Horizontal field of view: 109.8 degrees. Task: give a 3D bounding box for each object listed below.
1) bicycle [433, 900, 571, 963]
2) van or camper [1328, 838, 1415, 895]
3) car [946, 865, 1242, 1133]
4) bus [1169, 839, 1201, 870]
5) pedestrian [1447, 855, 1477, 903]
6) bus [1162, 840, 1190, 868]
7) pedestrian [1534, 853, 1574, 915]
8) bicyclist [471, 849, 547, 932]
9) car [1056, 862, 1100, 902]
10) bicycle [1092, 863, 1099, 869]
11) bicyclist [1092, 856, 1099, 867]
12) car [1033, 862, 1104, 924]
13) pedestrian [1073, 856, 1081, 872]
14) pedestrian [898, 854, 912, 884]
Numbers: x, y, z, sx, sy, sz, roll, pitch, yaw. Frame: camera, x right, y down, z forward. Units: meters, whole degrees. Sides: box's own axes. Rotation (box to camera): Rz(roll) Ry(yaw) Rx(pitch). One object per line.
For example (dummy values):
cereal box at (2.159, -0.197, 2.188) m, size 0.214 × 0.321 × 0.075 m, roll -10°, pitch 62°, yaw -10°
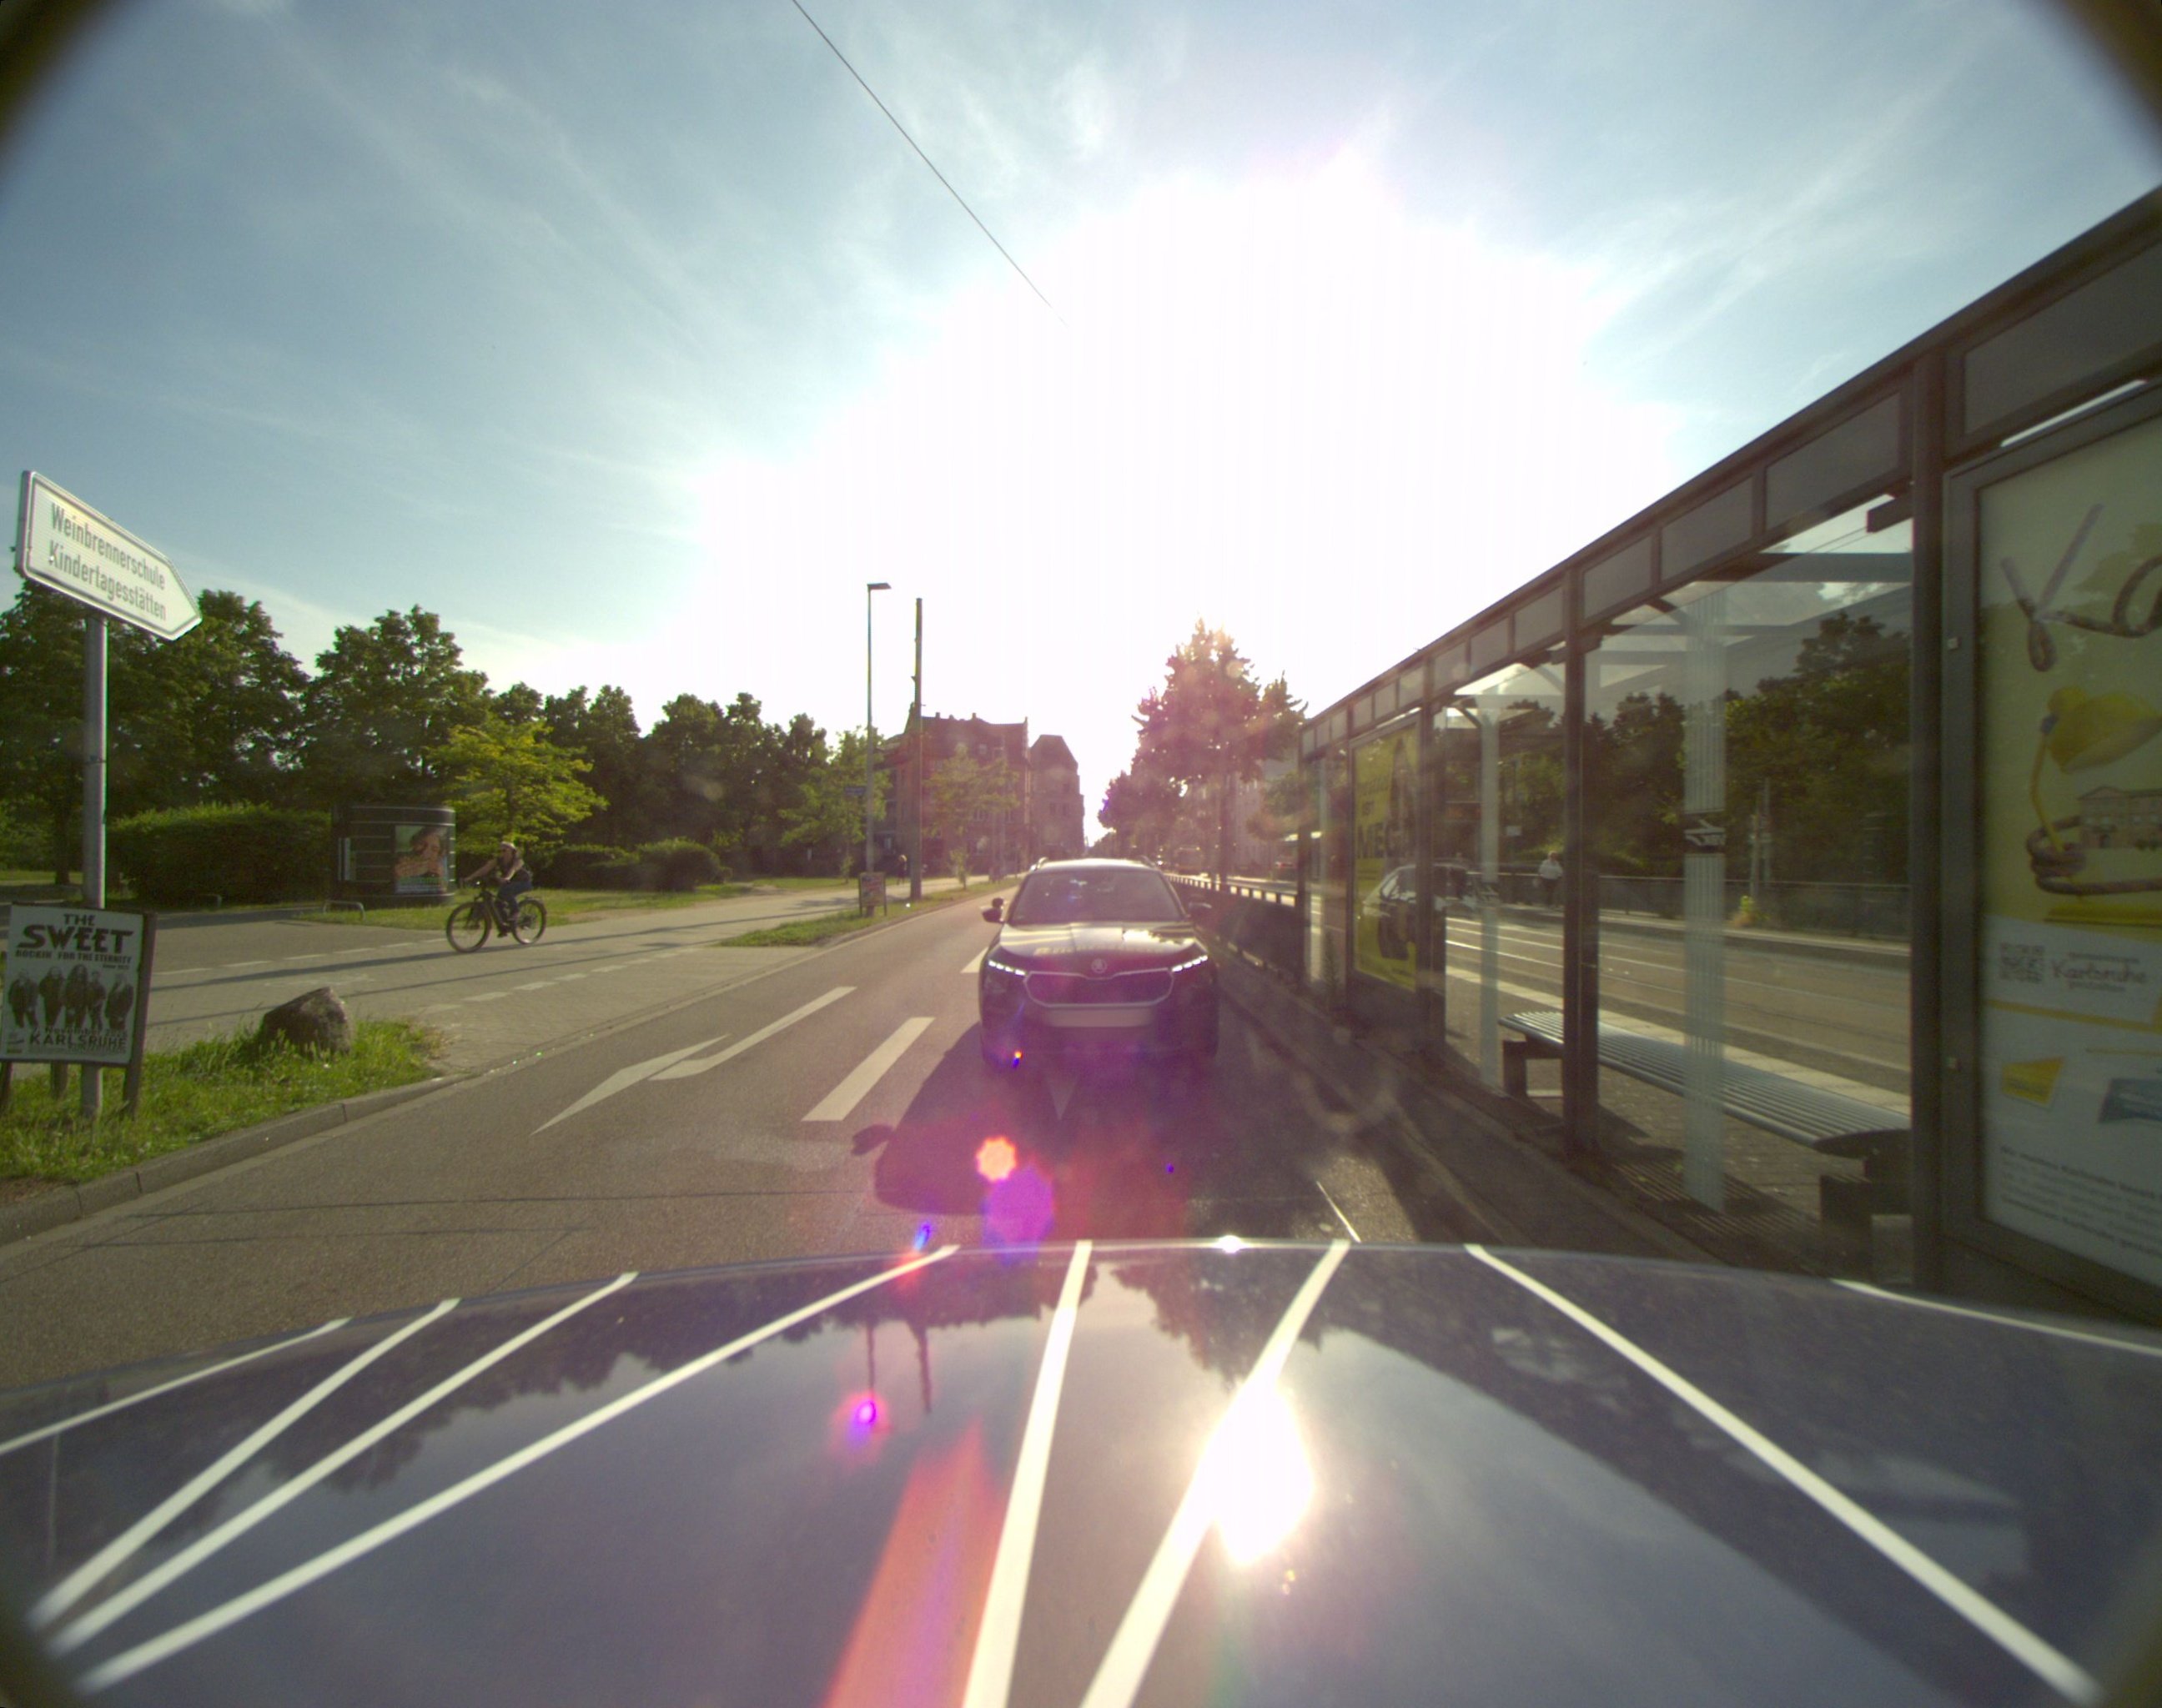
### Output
bicycle at (-8.988, 1.176, 11.926) m, size 0.496 × 0.753 × 2.168 m, roll 1°, pitch 0°, yaw 0°
van or camper at (16.545, 0.634, 43.741) m, size 2.527 × 2.951 × 6.410 m, roll -2°, pitch 1°, yaw 0°
car at (0.097, 0.908, 6.711) m, size 1.756 × 1.534 × 4.235 m, roll -1°, pitch 0°, yaw 0°
bus at (12.051, 0.033, 88.749) m, size 2.437 × 3.415 × 9.261 m, roll -2°, pitch 1°, yaw 1°
pedestrian at (13.586, 0.875, 27.104) m, size 0.621 × 1.674 × 0.618 m, roll 4°, pitch 0°, yaw 0°
bus at (12.129, -0.046, 98.019) m, size 2.437 × 3.415 × 9.261 m, roll -2°, pitch 1°, yaw 1°
pedestrian at (13.248, 0.840, 21.280) m, size 0.621 × 1.674 × 0.618 m, roll 4°, pitch 0°, yaw 0°
bicyclist at (-8.988, 0.555, 11.967) m, size 0.535 × 1.255 × 0.869 m, roll 0°, pitch 0°, yaw 0°
car at (-0.098, 1.144, 32.460) m, size 1.756 × 1.534 × 4.235 m, roll -1°, pitch 0°, yaw 0°
bicycle at (1.836, 1.496, 96.600) m, size 0.566 × 0.789 × 2.043 m, roll 0°, pitch 0°, yaw 12°
bicyclist at (1.835, 0.968, 96.511) m, size 0.688 × 1.445 × 1.112 m, roll 0°, pitch 0°, yaw 11°
car at (-0.293, 0.998, 21.037) m, size 1.756 × 1.451 × 4.235 m, roll -1°, pitch 0°, yaw 0°
pedestrian at (-0.374, 0.945, 73.544) m, size 0.637 × 1.512 × 0.844 m, roll -2°, pitch 1°, yaw -3°
pedestrian at (-9.832, 0.828, 42.461) m, size 0.621 × 1.675 × 0.618 m, roll -1°, pitch 0°, yaw 0°
